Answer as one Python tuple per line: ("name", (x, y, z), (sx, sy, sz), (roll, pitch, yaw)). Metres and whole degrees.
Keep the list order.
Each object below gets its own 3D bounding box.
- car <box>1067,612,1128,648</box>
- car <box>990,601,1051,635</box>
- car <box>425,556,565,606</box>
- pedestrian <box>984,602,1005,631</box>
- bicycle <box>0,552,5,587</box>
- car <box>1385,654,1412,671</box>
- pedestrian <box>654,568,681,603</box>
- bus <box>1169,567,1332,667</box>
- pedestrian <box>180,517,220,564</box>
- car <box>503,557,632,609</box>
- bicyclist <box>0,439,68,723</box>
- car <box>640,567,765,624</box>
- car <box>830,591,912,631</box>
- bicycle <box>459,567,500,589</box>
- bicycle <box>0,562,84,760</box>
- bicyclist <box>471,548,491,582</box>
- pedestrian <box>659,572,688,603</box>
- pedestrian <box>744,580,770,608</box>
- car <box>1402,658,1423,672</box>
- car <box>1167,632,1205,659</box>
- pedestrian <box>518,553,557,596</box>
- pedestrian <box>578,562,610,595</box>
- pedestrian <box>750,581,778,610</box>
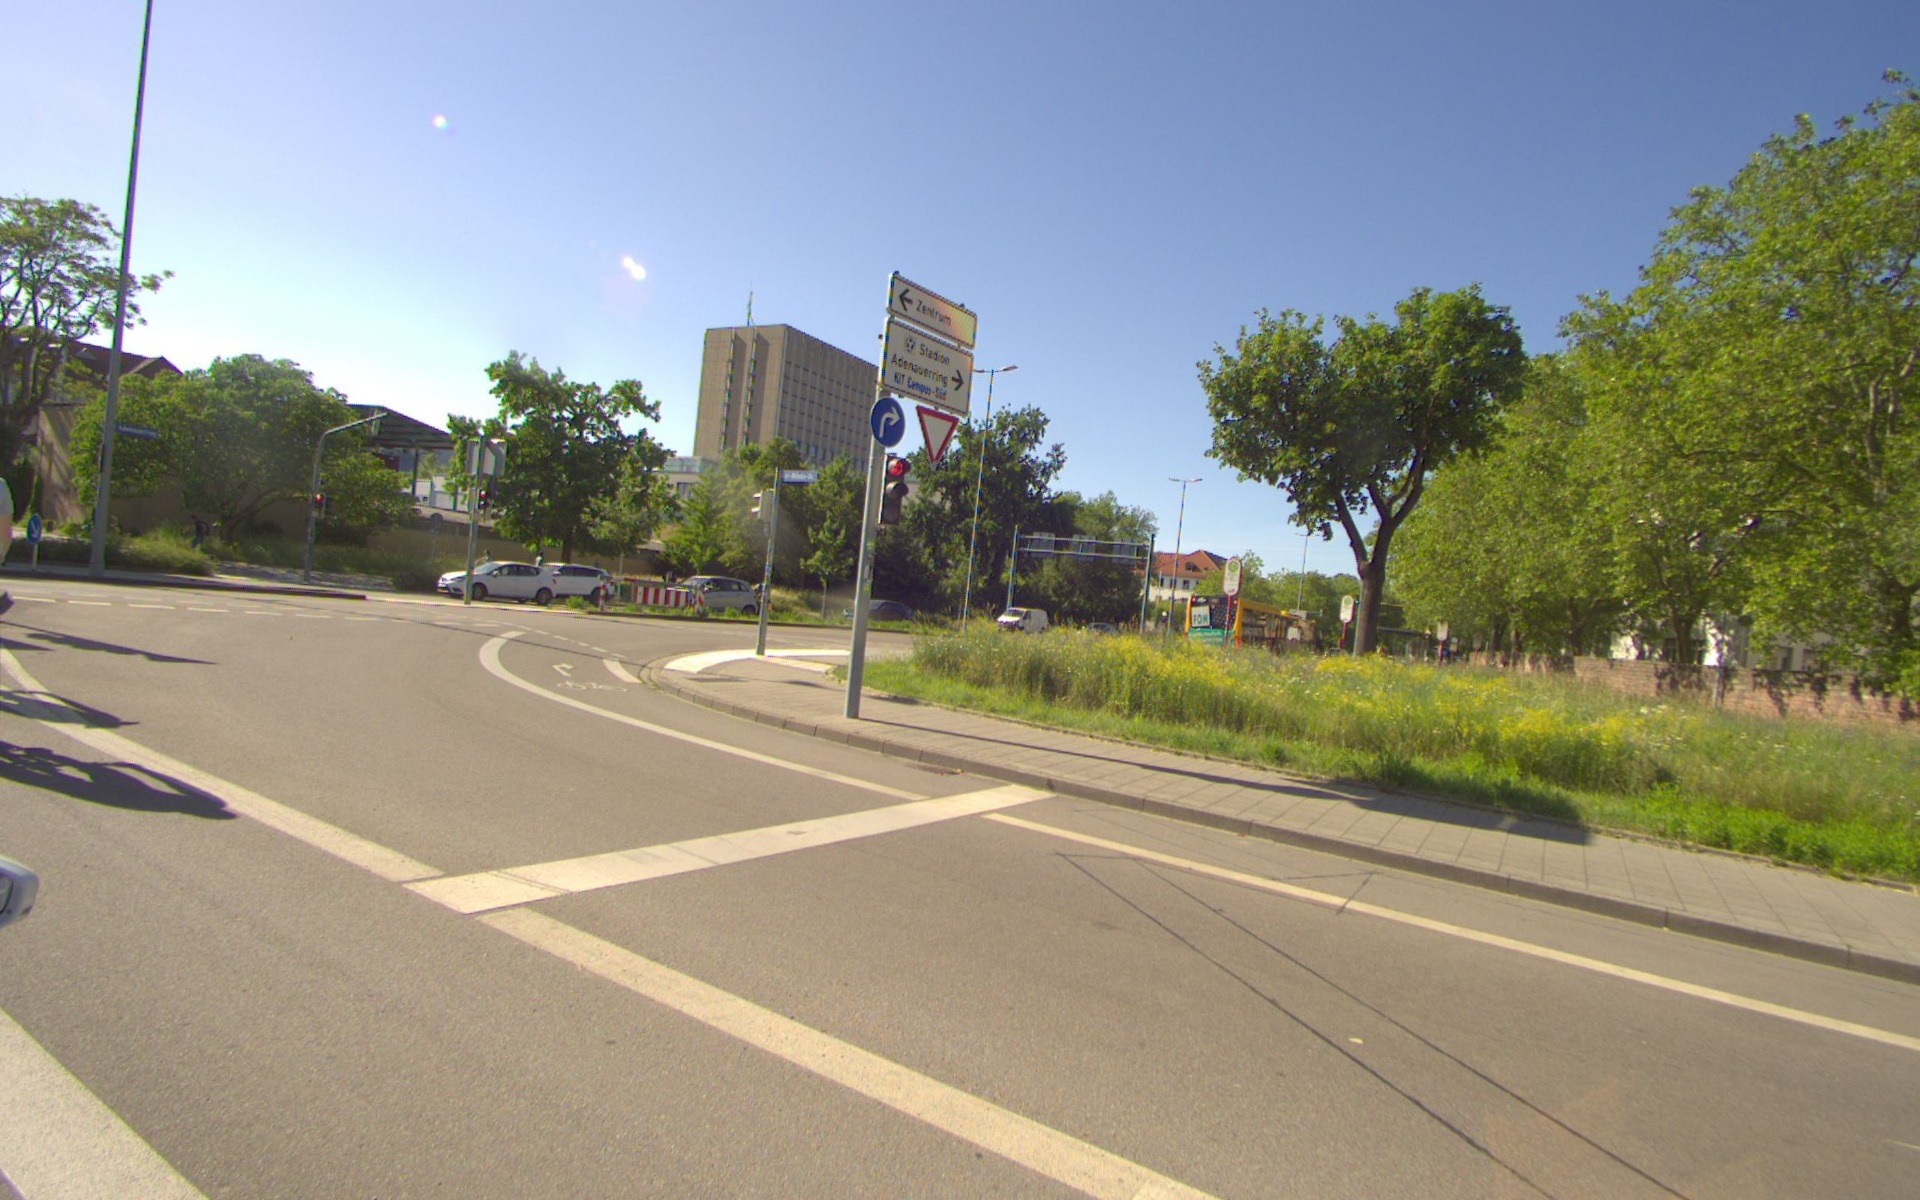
("car", (9.480, 2.089, 68.955), (1.969, 2.062, 4.833), (7, 0, 35))
("car", (4.355, 1.325, 71.678), (1.968, 1.966, 4.834), (7, 0, 35))
("car", (-16.512, -0.666, 35.866), (1.970, 1.378, 3.993), (5, -1, 37))
("pedestrian", (2.693, 1.281, 79.160), (0.966, 2.106, 1.186), (7, 1, 35))
("bicycle", (-8.314, 0.043, 7.863), (1.813, 1.063, 0.672), (6, -1, 31))
("car", (42.634, 6.096, 97.678), (1.731, 1.390, 3.991), (7, 0, 32))
("pedestrian", (-15.960, -0.794, 54.922), (0.959, 1.754, 0.914), (6, 1, -43))
("bus", (14.182, 1.016, 48.008), (3.199, 3.614, 12.425), (8, 0, 35))
("pedestrian", (-28.564, -2.248, 37.801), (0.979, 1.625, 0.816), (6, 1, -45))
("car", (-16.129, -0.667, 41.498), (1.970, 1.625, 4.501), (7, 0, 38))
("bicyclist", (-6.149, -0.155, 6.124), (0.851, 1.695, 0.741), (7, 1, 30))
("car", (-9.521, -0.137, 37.405), (1.882, 1.625, 4.124), (7, 0, 37))
("car", (-4.598, 0.608, 52.608), (1.968, 1.625, 4.127), (7, 0, 35))
("bicycle", (-21.043, -0.975, 44.069), (0.561, 0.787, 1.490), (7, 0, 42))
("bicycle", (-6.276, 0.295, 6.179), (1.871, 1.064, 0.748), (6, 1, 31))
("bicyclist", (-20.981, -1.535, 44.062), (0.568, 1.385, 0.520), (7, 1, 42))
("pedestrian", (-15.348, -0.656, 53.838), (0.865, 1.540, 1.074), (7, 1, 36))
("pedestrian", (-12.111, -0.367, 59.989), (0.865, 1.540, 1.144), (7, 1, 35))
("car", (57.649, 8.309, 128.107), (1.861, 1.419, 3.852), (4, -3, 31))
("car", (20.491, 4.140, 91.039), (1.966, 2.062, 4.841), (7, 0, 29))
("pedestrian", (-20.123, -1.200, 47.895), (0.953, 1.879, 1.294), (7, 1, 43))
("pedestrian", (-18.434, -1.083, 50.734), (0.917, 1.540, 1.083), (7, 1, 41))
("pedestrian", (-11.579, -0.274, 59.345), (0.975, 1.540, 1.129), (7, 1, 35))
